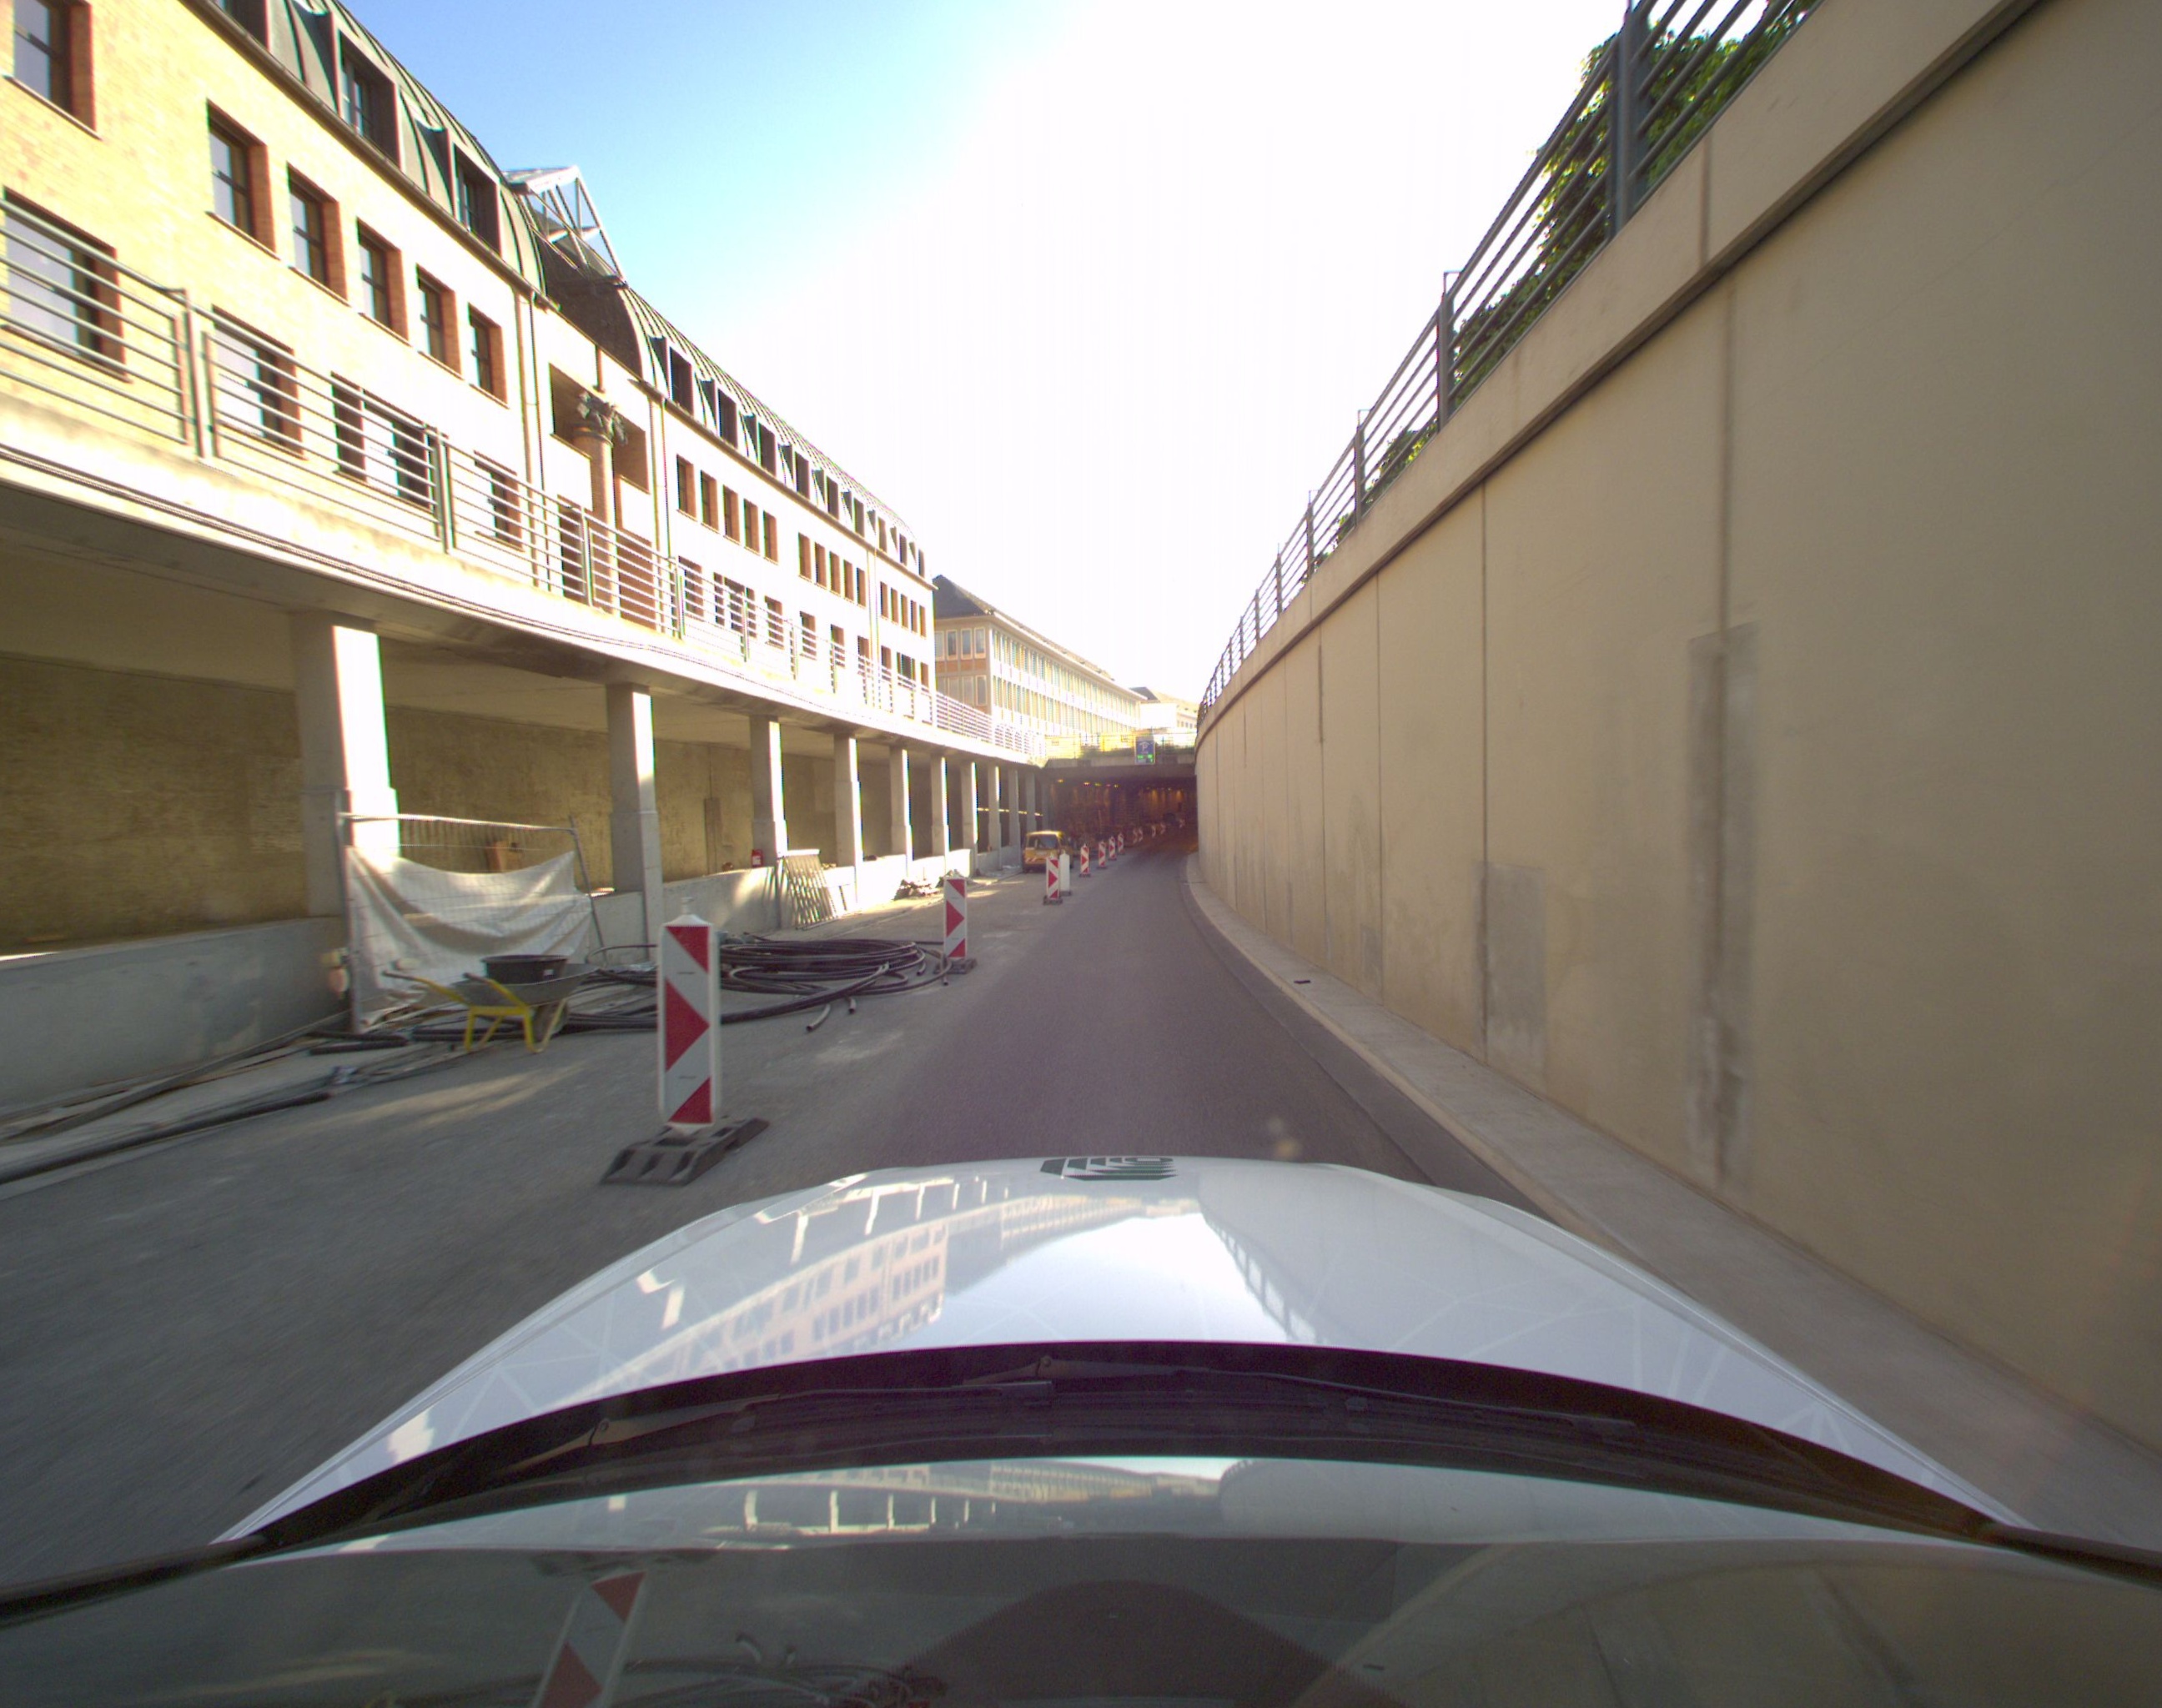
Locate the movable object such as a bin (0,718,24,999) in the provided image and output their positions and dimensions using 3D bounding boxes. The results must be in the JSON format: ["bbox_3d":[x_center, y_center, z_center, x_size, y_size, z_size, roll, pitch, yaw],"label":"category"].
[{"bbox_3d":[-8.580,0.080,4.265,1.880,1.987,3.158,-1,1,-1],"label":"movable object such as a bin"}]

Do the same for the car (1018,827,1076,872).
[{"bbox_3d":[-1.433,-0.258,36.302,1.838,1.775,4.445,-1,3,7],"label":"car"}]

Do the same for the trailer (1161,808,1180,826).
[{"bbox_3d":[9.473,-3.928,86.020,1.569,1.797,2.952,0,4,14],"label":"trailer"}]
